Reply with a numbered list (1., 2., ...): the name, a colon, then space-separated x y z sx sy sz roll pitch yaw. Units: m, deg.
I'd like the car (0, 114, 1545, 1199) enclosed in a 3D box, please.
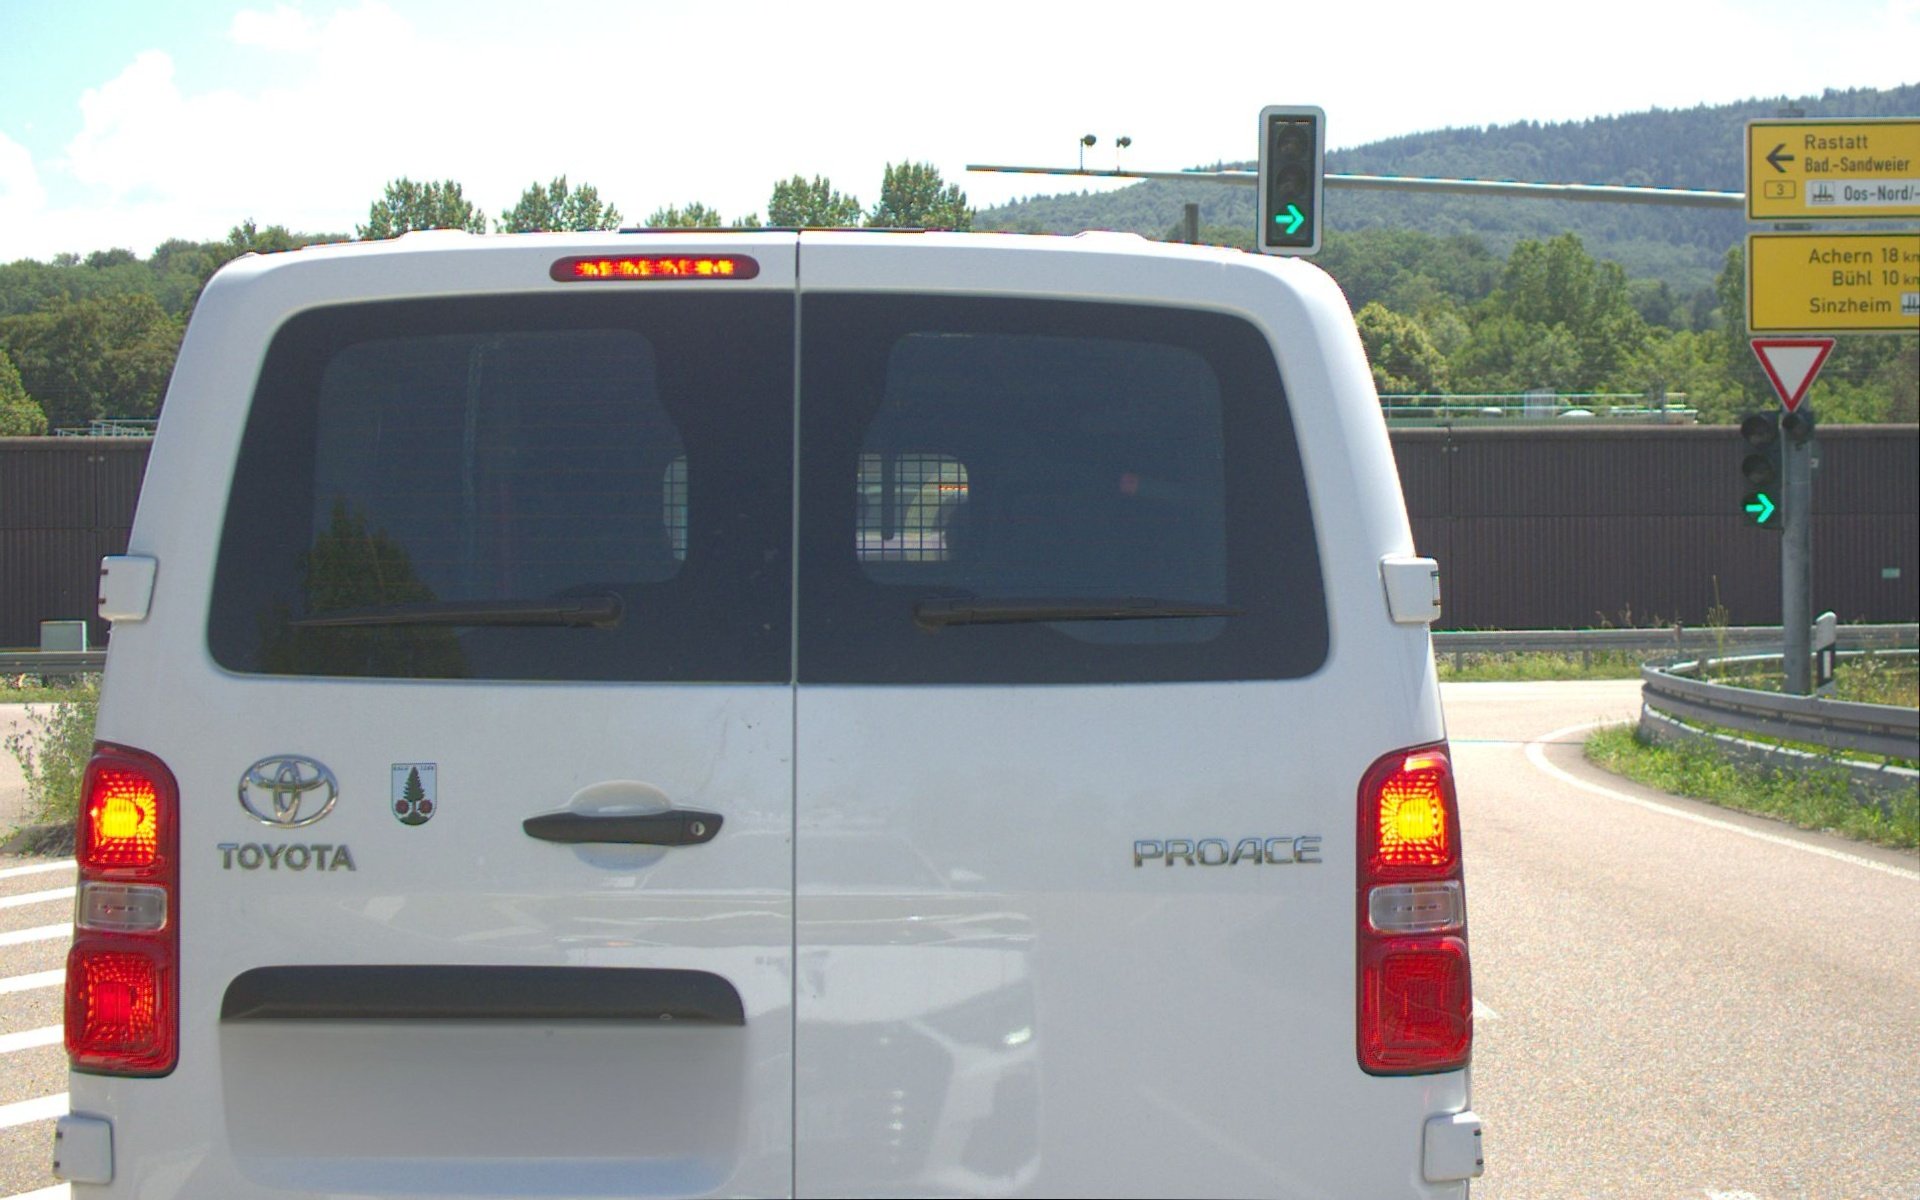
1. car: -0.260 0.429 5.957 1.814 2.011 4.000 0 1 -1
